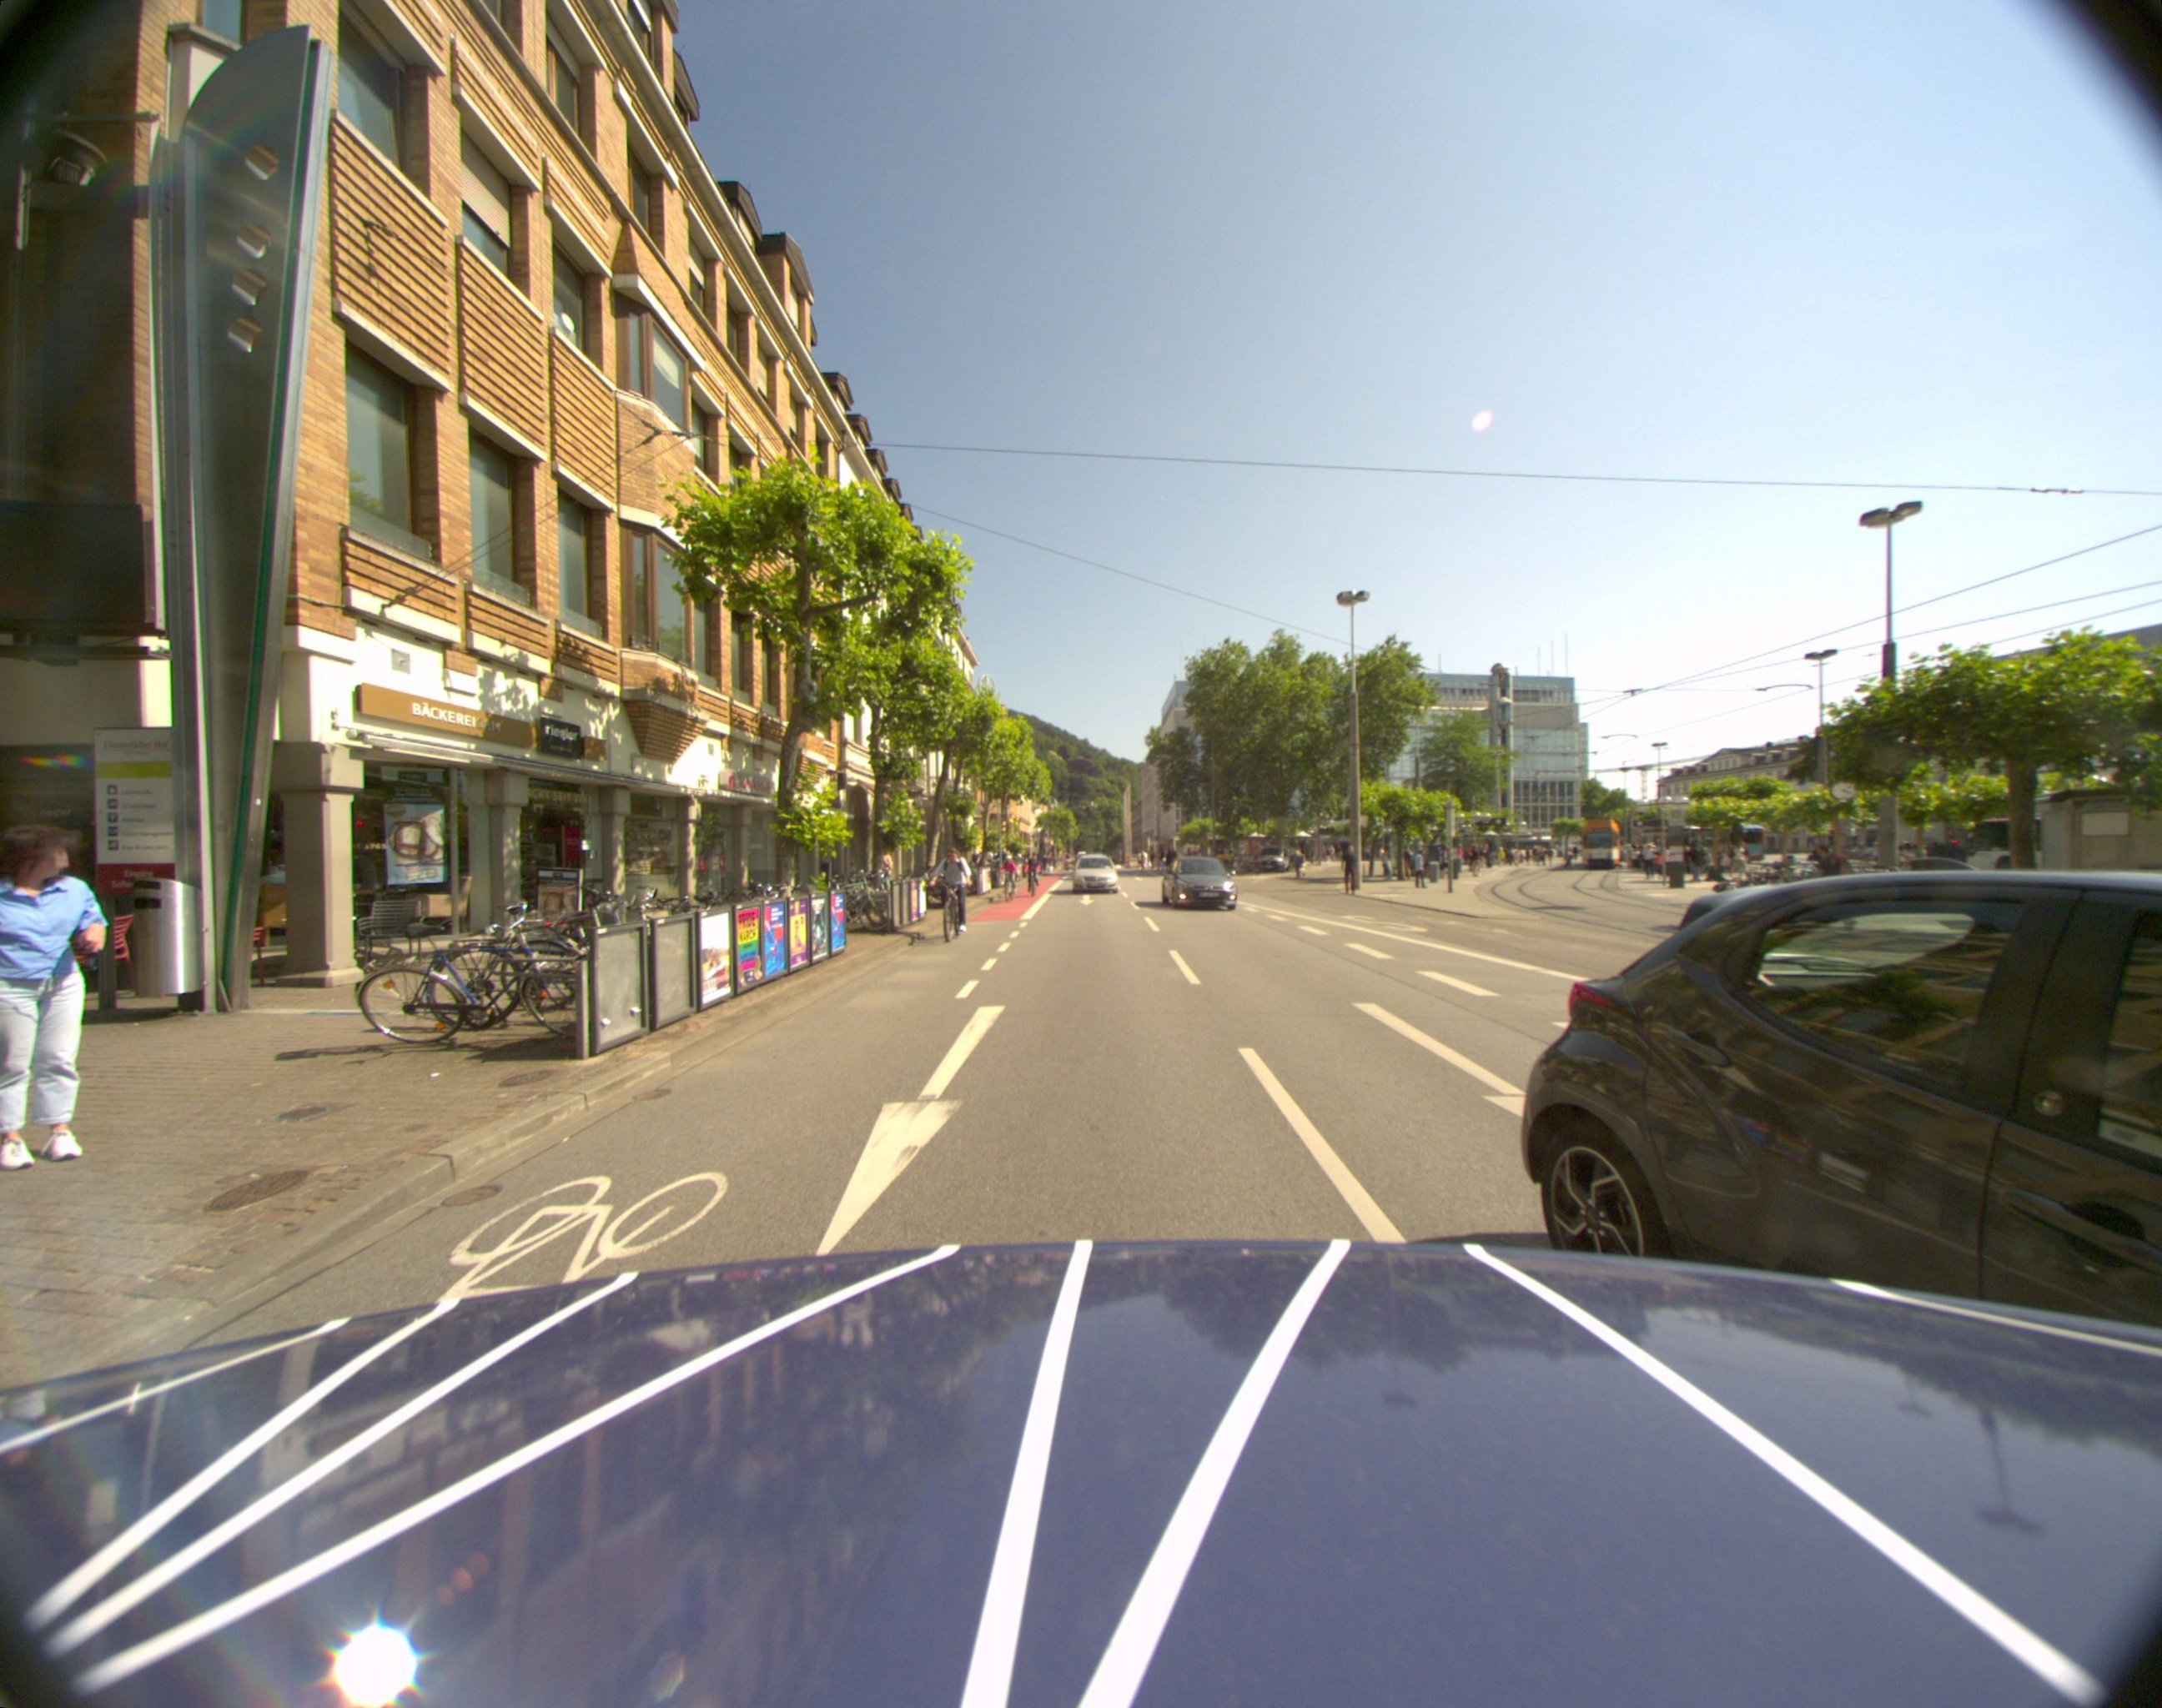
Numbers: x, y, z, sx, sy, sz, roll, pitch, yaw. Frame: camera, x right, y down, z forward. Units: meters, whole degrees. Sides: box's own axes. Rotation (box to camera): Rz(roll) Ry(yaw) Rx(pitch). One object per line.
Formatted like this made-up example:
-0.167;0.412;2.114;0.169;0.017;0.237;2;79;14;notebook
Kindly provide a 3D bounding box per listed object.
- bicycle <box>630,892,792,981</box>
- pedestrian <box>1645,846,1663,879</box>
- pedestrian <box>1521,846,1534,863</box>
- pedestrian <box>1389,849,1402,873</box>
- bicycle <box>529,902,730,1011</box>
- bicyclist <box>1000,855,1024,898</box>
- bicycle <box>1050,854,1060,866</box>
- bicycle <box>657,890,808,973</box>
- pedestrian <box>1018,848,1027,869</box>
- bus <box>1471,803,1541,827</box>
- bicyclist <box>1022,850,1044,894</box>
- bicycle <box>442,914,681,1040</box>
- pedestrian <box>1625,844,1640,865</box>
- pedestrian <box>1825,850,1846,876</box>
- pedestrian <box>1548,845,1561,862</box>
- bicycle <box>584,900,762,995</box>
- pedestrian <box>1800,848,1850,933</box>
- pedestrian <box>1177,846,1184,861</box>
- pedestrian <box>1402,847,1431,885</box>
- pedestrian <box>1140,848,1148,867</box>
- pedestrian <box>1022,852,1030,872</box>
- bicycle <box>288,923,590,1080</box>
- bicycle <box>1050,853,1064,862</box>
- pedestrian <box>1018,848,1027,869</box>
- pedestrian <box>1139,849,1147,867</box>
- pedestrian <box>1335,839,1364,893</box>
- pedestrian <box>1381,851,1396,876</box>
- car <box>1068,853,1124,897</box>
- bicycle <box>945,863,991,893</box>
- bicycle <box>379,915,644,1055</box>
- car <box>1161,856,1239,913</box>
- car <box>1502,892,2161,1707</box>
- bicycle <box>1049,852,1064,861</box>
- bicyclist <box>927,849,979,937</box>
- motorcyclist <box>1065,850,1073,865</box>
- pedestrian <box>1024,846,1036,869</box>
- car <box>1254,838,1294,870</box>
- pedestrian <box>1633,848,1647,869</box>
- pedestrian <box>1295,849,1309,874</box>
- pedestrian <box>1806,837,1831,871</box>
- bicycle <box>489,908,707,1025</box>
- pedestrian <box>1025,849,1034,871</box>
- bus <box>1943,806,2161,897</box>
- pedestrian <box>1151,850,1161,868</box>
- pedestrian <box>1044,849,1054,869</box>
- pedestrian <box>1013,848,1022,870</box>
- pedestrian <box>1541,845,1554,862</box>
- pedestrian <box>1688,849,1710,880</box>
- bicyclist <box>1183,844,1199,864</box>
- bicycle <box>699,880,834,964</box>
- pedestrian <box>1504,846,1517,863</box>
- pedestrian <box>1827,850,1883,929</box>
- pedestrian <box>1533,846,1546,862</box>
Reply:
-4.617;1.019;9.540;1.757;1.012;0.483;-1;1;-1;bicycle
28.919;0.409;38.373;0.473;1.656;0.521;1;0;-22;pedestrian
40.042;0.012;68.152;0.757;1.464;0.555;-3;1;0;pedestrian
19.678;0.436;47.552;0.727;1.457;0.681;2;0;21;pedestrian
-4.662;1.051;7.907;1.757;1.012;0.483;-1;1;-1;bicycle
-2.322;0.762;25.696;0.690;1.388;0.778;-3;1;-1;bicyclist
-2.704;0.619;78.753;0.737;1.086;1.895;2;1;-13;bicycle
-4.629;1.028;10.154;1.757;1.012;0.483;-1;1;-1;bicycle
-4.722;0.361;61.593;0.578;1.730;0.622;-3;1;-2;pedestrian
57.240;-5.242;102.184;12.201;2.774;2.384;-3;1;-31;bus
-1.779;0.648;28.298;0.690;1.568;0.778;-3;1;-2;bicyclist
-4.637;1.088;6.844;1.757;1.012;0.483;-1;1;-1;bicycle
40.505;0.059;55.799;0.681;1.540;0.577;1;0;-26;pedestrian
41.990;0.491;42.285;0.626;1.457;0.678;1;0;-33;pedestrian
42.070;-0.038;67.570;0.757;1.464;0.555;-3;1;0;pedestrian
-4.625;1.049;8.666;1.721;0.979;0.483;-1;1;-1;bicycle
15.516;0.743;15.857;0.527;1.723;0.586;1;0;-29;pedestrian
11.334;-0.031;86.498;0.732;1.660;0.640;-3;1;14;pedestrian
14.591;0.522;33.042;0.895;1.649;0.680;0;1;-9;pedestrian
5.861;0.345;70.328;0.575;1.704;0.652;-3;1;-1;pedestrian
-4.364;0.614;60.183;0.578;1.575;0.622;-3;1;-2;pedestrian
-4.697;1.066;5.624;1.757;1.012;0.483;-1;1;-1;bicycle
-3.035;0.438;95.760;1.757;1.140;0.592;-1;1;-1;bicycle
-4.712;0.351;60.913;0.578;1.714;0.622;-3;1;-2;pedestrian
5.959;0.356;73.288;0.639;1.737;0.733;-3;1;-1;pedestrian
10.212;0.448;28.895;0.897;1.996;0.678;0;1;-43;pedestrian
16.060;0.511;39.656;0.577;1.227;0.555;-3;2;35;pedestrian
0.599;0.744;29.090;1.918;1.401;4.000;-3;1;2;car
-4.538;0.956;30.486;1.757;1.140;0.483;-1;1;-1;bicycle
-4.642;1.055;6.257;1.757;1.012;0.483;-1;1;-1;bicycle
3.314;0.798;21.871;1.699;1.397;4.000;1;1;1;car
2.445;0.909;0.951;1.781;1.467;4.000;0;1;3;car
-3.025;0.286;94.279;1.757;1.140;0.592;-1;1;-1;bicycle
-2.383;0.713;14.233;0.750;1.568;0.778;-3;1;0;bicyclist
-1.160;0.354;74.193;0.736;1.446;0.707;-3;1;1;motorcyclist
-3.909;0.275;57.840;0.620;1.675;0.579;-2;2;43;pedestrian
13.661;-0.020;53.447;1.995;2.002;5.073;-3;1;22;car
40.062;0.318;54.454;0.681;1.540;0.577;1;0;-26;pedestrian
13.280;0.453;45.603;0.624;1.457;0.680;0;1;1;pedestrian
33.951;0.008;34.964;0.600;1.544;0.530;1;0;3;pedestrian
-4.656;1.071;7.382;1.757;1.012;0.483;-1;1;-1;bicycle
-4.031;0.463;59.174;0.578;1.675;0.775;-3;1;-2;pedestrian
44.590;-0.270;33.457;3.060;3.400;12.475;-3;1;20;bus
7.481;0.532;76.018;0.751;1.737;0.732;-3;1;-9;pedestrian
-2.818;0.442;66.027;0.579;1.675;0.726;-3;1;-22;pedestrian
-5.033;0.406;60.142;0.578;1.675;0.622;-3;1;-2;pedestrian
41.979;-0.042;68.421;0.757;1.464;0.555;-3;1;0;pedestrian
28.508;0.483;35.069;0.682;1.410;0.623;1;0;-37;pedestrian
8.401;-0.030;58.226;0.831;1.489;1.160;-3;1;-9;bicyclist
-4.610;0.991;11.196;1.757;1.140;0.483;-1;1;-1;bicycle
38.812;0.061;68.659;0.757;1.464;0.555;-3;1;0;pedestrian
16.233;0.731;15.941;0.525;1.600;0.627;1;0;10;pedestrian
40.909;0.000;67.749;0.757;1.464;0.555;-3;1;0;pedestrian
